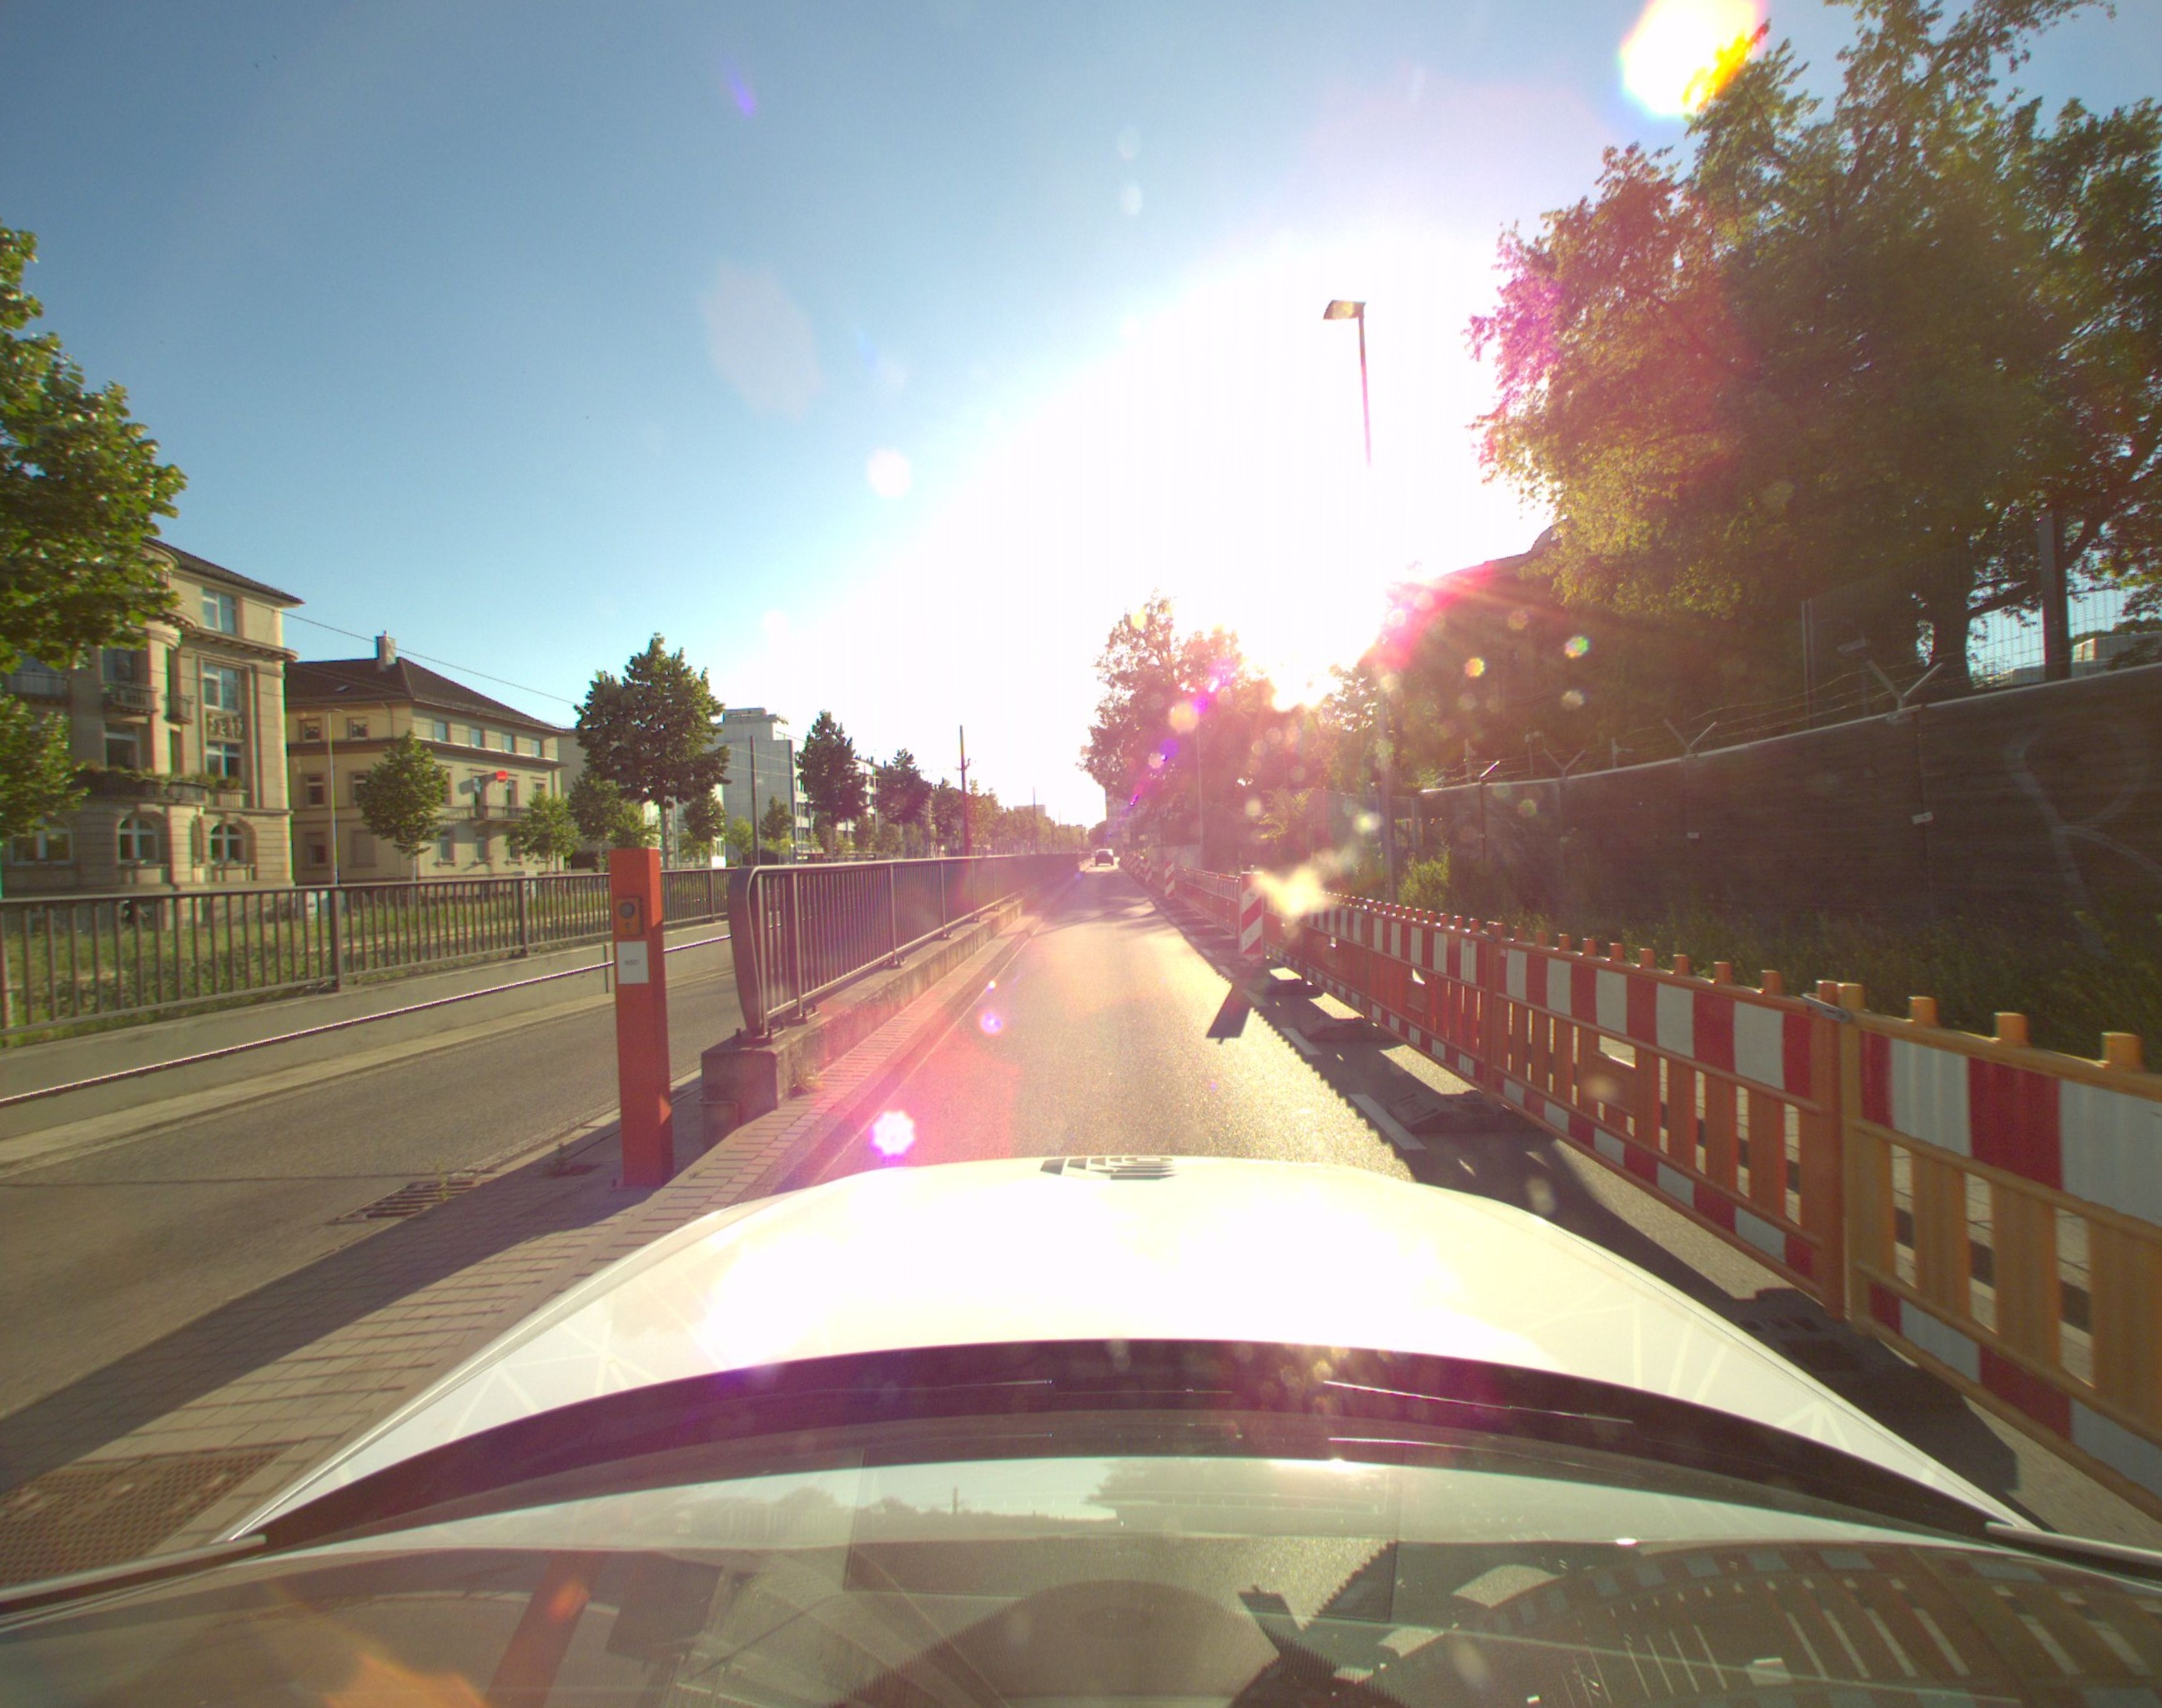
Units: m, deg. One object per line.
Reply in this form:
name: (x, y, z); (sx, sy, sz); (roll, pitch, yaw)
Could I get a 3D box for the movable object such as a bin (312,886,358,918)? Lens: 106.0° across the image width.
movable object such as a bin: (-36.569, 2.336, 39.938); (1.201, 1.429, 1.080); (-3, 0, 1)

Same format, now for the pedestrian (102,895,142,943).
pedestrian: (-36.006, 2.416, 30.587); (0.653, 1.720, 0.653); (-3, 0, 1)

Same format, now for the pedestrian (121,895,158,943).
pedestrian: (-35.307, 2.444, 30.538); (0.553, 1.720, 0.653); (-3, 0, 1)

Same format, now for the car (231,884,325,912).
car: (-47.060, 2.573, 47.777); (3.970, 1.469, 1.683); (-1, -1, 3)

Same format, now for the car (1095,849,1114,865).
car: (2.551, 0.287, 87.586); (1.997, 1.659, 4.002); (-1, 0, 2)
